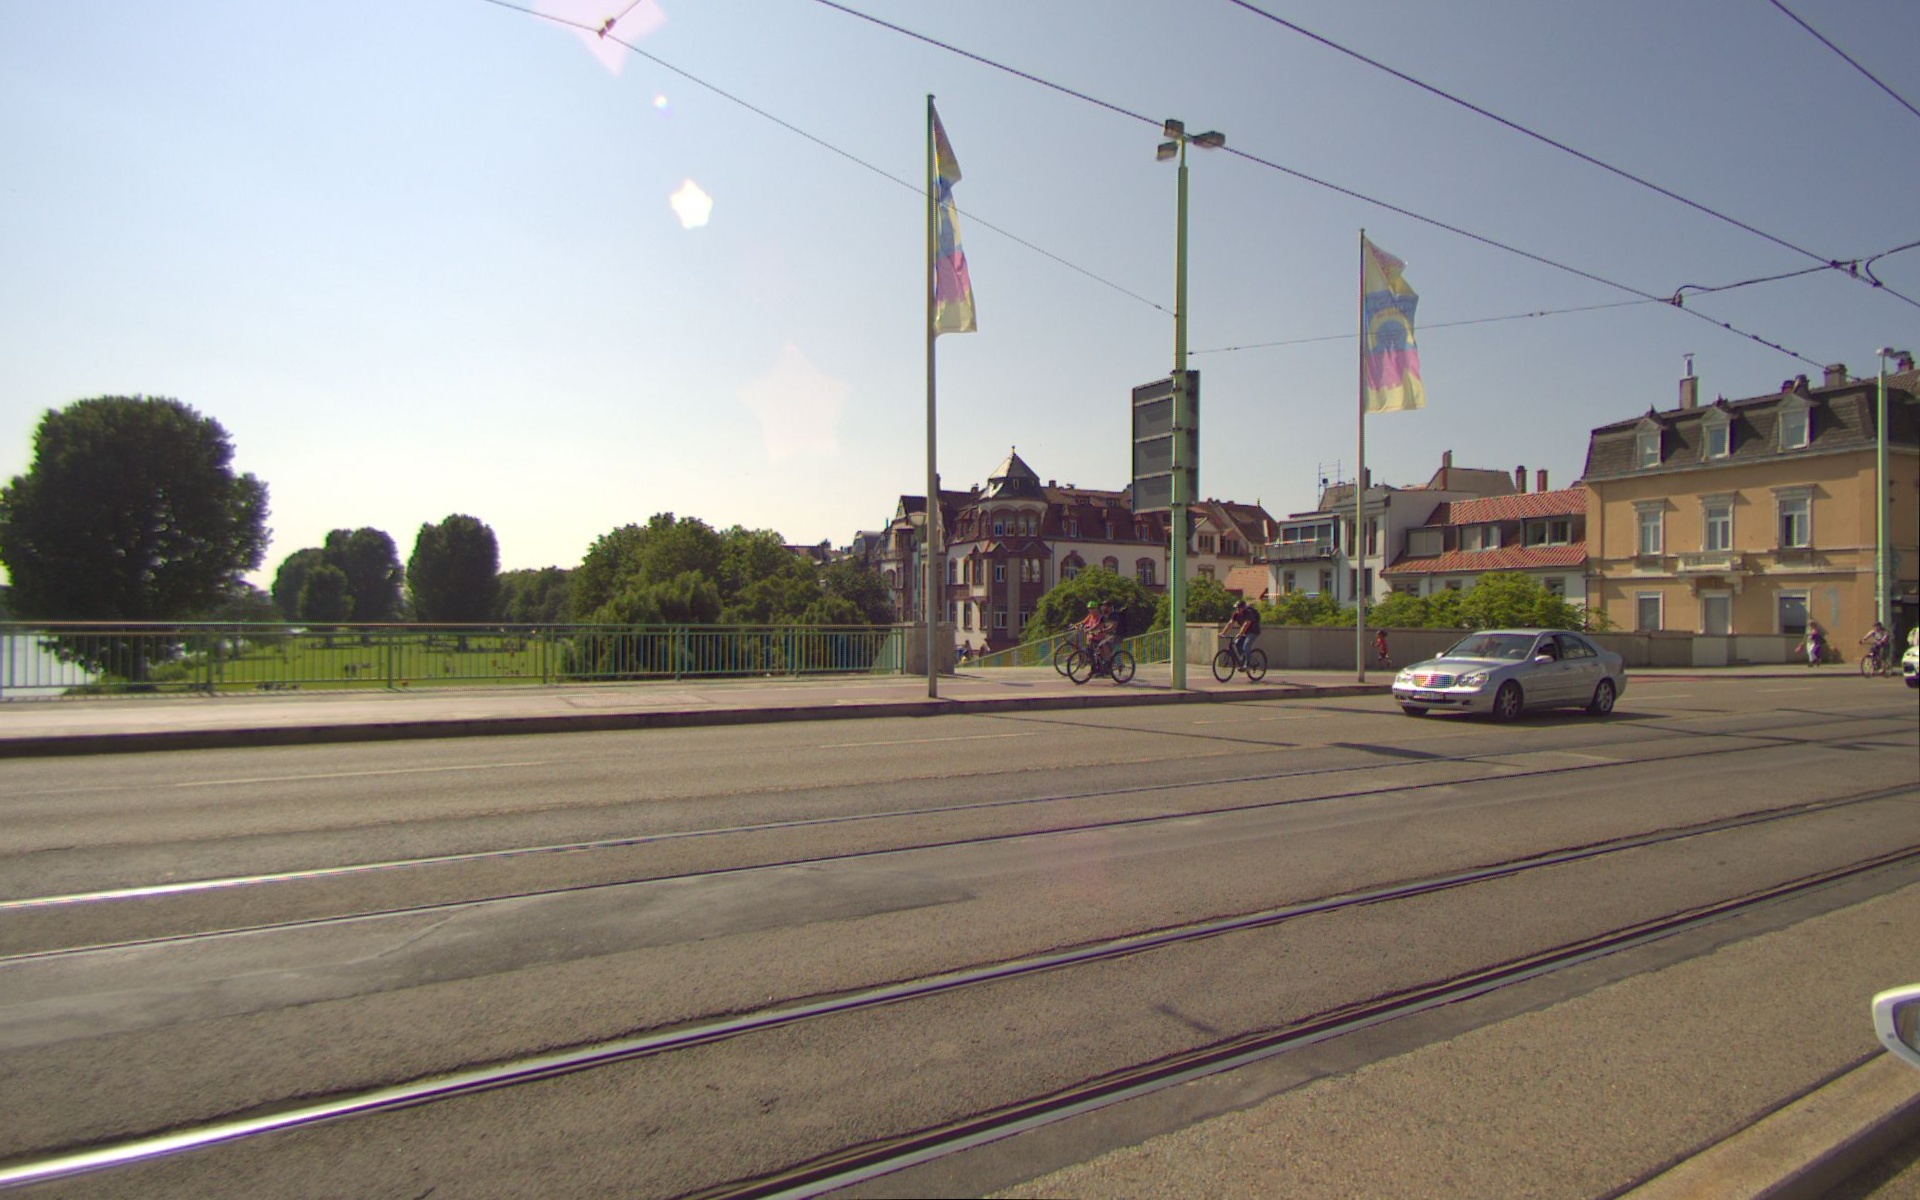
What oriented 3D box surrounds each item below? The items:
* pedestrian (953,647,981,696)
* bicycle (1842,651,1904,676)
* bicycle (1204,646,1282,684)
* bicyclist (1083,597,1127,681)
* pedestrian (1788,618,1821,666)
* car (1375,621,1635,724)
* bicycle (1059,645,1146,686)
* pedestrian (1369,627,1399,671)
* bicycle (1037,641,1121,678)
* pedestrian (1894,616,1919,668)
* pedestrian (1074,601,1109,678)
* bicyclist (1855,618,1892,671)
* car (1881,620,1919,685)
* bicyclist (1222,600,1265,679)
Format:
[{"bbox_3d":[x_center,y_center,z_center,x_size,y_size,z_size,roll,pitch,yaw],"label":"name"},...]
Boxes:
[{"bbox_3d":[0.268,2.666,37.738,0.791,1.804,0.743,1,-1,-26],"label":"pedestrian"},{"bbox_3d":[29.202,2.028,32.126,2.014,0.726,0.619,1,1,-21],"label":"bicycle"},{"bbox_3d":[6.183,1.406,21.951,1.711,0.726,0.617,0,1,-30],"label":"bicycle"},{"bbox_3d":[2.945,0.773,20.410,0.614,1.672,0.624,0,2,-29],"label":"bicyclist"},{"bbox_3d":[30.311,1.494,36.053,0.559,1.624,0.646,-1,5,-29],"label":"pedestrian"},{"bbox_3d":[8.933,1.110,16.384,4.321,1.480,1.723,1,-1,-30],"label":"car"},{"bbox_3d":[2.902,1.313,20.408,1.750,0.726,0.617,0,1,-30],"label":"bicycle"},{"bbox_3d":[11.655,1.356,27.611,0.536,1.161,0.411,2,3,-17],"label":"pedestrian"},{"bbox_3d":[2.689,1.325,22.632,1.912,0.726,0.617,0,1,-32],"label":"bicycle"},{"bbox_3d":[34.459,1.522,36.285,0.778,1.790,0.733,1,4,-30],"label":"pedestrian"},{"bbox_3d":[2.895,0.870,22.122,0.620,1.654,0.410,1,2,-32],"label":"pedestrian"},{"bbox_3d":[29.206,1.414,32.110,0.612,1.672,0.626,0,2,-21],"label":"bicyclist"},{"bbox_3d":[26.006,1.351,25.739,4.589,1.607,1.988,1,-1,-25],"label":"car"},{"bbox_3d":[6.190,0.854,21.954,0.614,1.672,0.624,0,2,-29],"label":"bicyclist"}]
